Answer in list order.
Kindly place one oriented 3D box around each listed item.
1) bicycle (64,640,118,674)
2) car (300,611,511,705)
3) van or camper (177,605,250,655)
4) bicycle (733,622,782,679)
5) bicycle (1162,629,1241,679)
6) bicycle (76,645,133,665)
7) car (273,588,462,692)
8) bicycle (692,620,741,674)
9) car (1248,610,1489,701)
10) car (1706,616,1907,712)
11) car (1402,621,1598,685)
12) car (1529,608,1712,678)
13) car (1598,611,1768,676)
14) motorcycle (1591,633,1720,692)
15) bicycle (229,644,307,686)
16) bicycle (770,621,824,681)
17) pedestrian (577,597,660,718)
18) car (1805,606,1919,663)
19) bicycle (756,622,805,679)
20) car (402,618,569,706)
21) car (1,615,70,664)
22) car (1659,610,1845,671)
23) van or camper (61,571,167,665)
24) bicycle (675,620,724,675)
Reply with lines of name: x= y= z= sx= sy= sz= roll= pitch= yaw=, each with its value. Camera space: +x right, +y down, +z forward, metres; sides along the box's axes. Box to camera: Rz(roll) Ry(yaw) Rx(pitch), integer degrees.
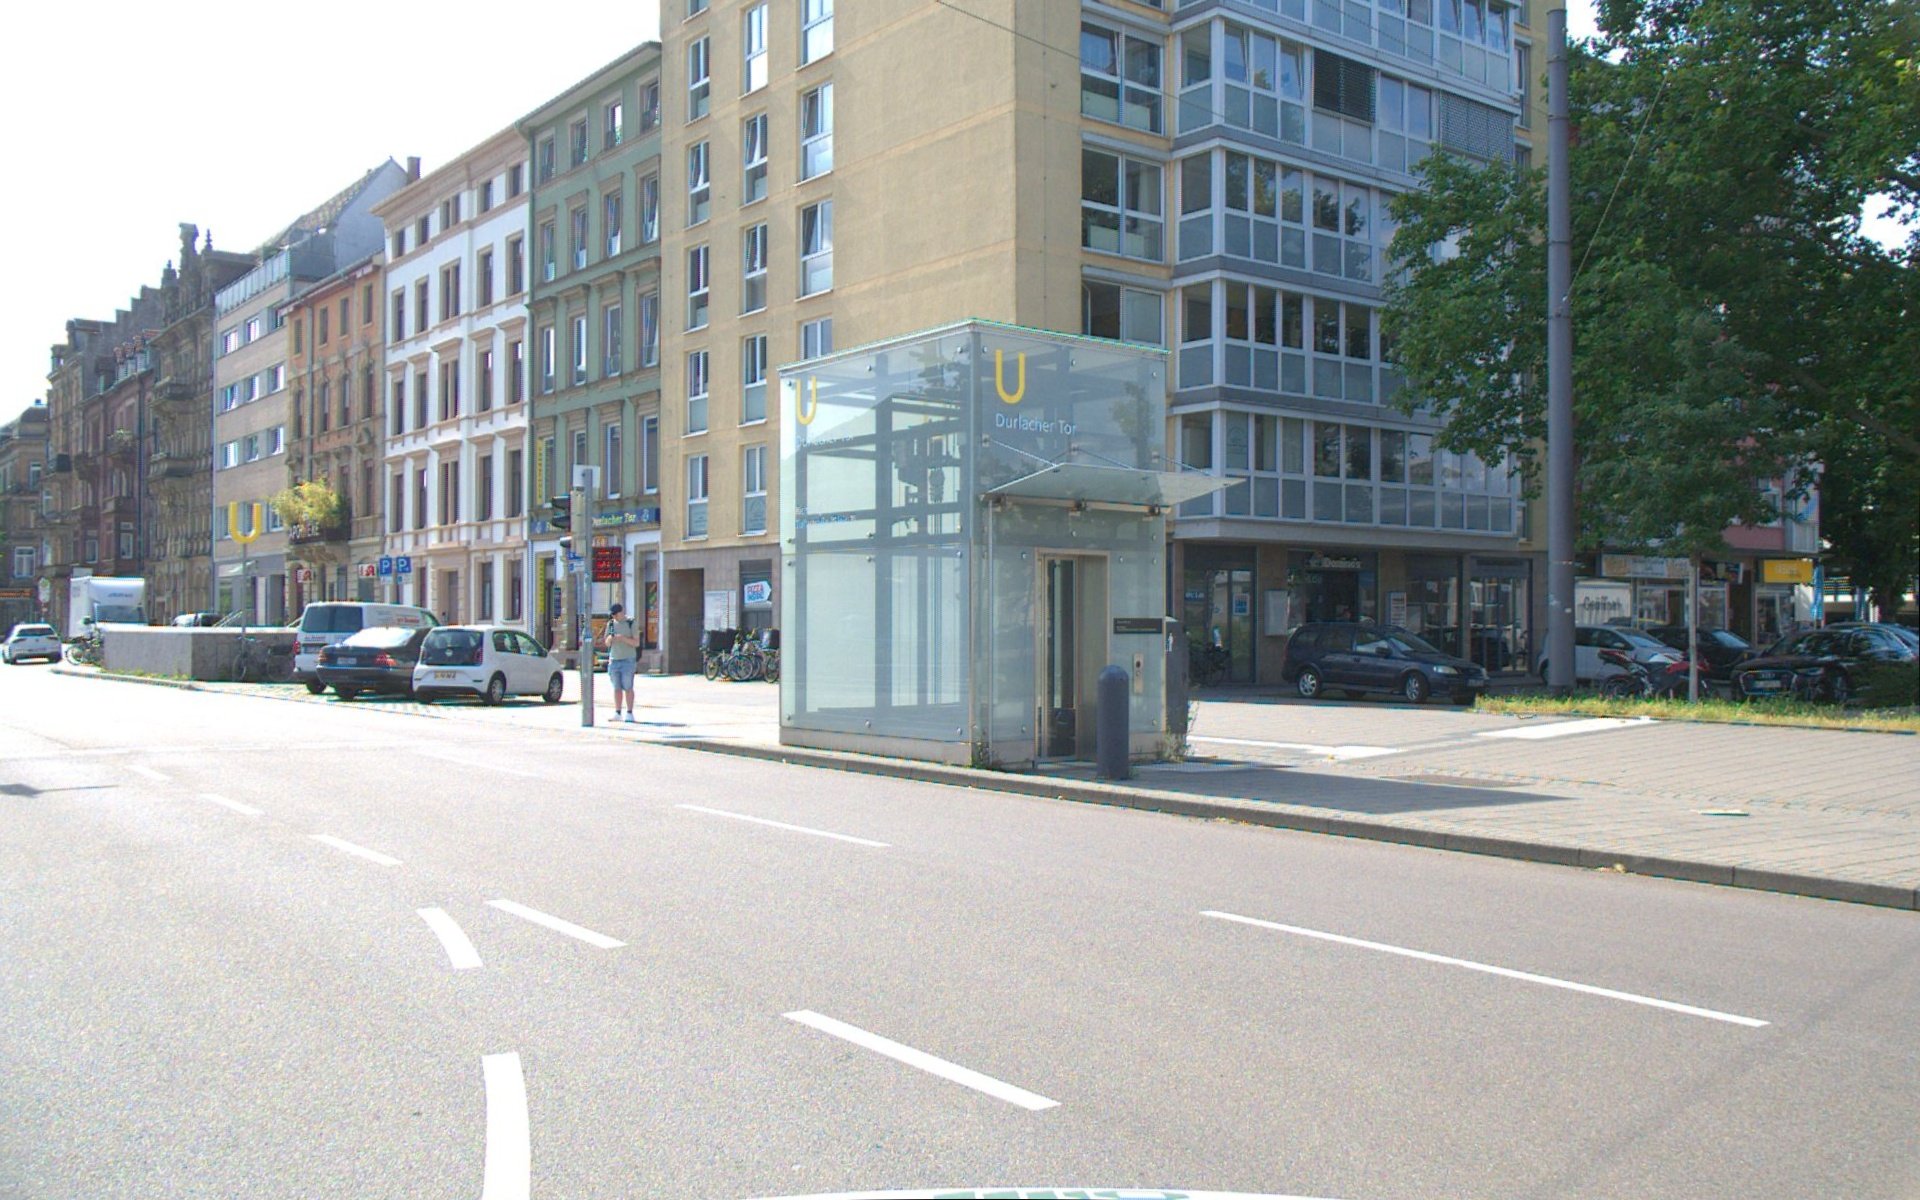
bicycle: x=-31.885 y=2.082 z=60.682 sx=0.366 sy=1.103 sz=1.755 roll=4 pitch=4 yaw=40
car: x=-11.232 y=1.117 z=33.941 sx=1.844 sy=1.494 sz=5.070 roll=0 pitch=3 yaw=11
van or camper: x=-35.926 y=1.417 z=79.489 sx=1.980 sy=1.937 sz=5.228 roll=-5 pitch=5 yaw=-37
bicycle: x=-4.806 y=1.187 z=39.160 sx=0.482 sy=1.222 sz=1.627 roll=-2 pitch=4 yaw=-33
bicycle: x=5.277 y=1.168 z=36.099 sx=1.763 sy=1.037 sz=0.672 roll=0 pitch=-1 yaw=-38
bicycle: x=-29.483 y=1.893 z=57.017 sx=1.727 sy=0.596 sz=0.639 roll=0 pitch=3 yaw=12
car: x=-13.360 y=0.840 z=37.647 sx=2.029 sy=2.121 sz=4.904 roll=0 pitch=1 yaw=7
bicycle: x=-6.135 y=1.177 z=41.578 sx=0.483 sy=1.222 sz=1.623 roll=-2 pitch=4 yaw=-37
car: x=7.974 y=1.024 z=32.576 sx=1.980 sy=1.613 sz=4.331 roll=0 pitch=0 yaw=-39
car: x=15.977 y=1.151 z=31.174 sx=3.956 sy=1.444 sz=1.775 roll=-2 pitch=4 yaw=-36
car: x=11.965 y=1.169 z=36.837 sx=1.570 sy=1.350 sz=3.945 roll=0 pitch=-2 yaw=-38
car: x=15.591 y=1.010 z=39.158 sx=1.980 sy=1.557 sz=3.525 roll=0 pitch=-2 yaw=-38
car: x=17.998 y=1.087 z=41.278 sx=1.678 sy=1.557 sz=3.525 roll=0 pitch=-2 yaw=-38
motorcycle: x=11.396 y=1.026 z=27.138 sx=1.848 sy=0.918 sz=0.606 roll=-1 pitch=0 yaw=9
bicycle: x=-17.690 y=1.657 z=42.302 sx=1.765 sy=1.021 sz=0.504 roll=1 pitch=1 yaw=-45
bicycle: x=-3.717 y=1.140 z=37.604 sx=0.542 sy=1.222 sz=1.627 roll=-2 pitch=4 yaw=-33
pedestrian: x=-5.202 y=0.865 z=25.208 sx=0.768 sy=1.790 sz=0.994 roll=-1 pitch=-1 yaw=28
car: x=27.054 y=1.018 z=48.628 sx=1.646 sy=1.622 sz=3.576 roll=0 pitch=-2 yaw=-34
bicycle: x=-4.270 y=1.184 z=39.324 sx=0.482 sy=1.222 sz=1.627 roll=-2 pitch=4 yaw=-33
car: x=-9.126 y=1.151 z=32.080 sx=1.677 sy=1.465 sz=3.515 roll=1 pitch=2 yaw=11
car: x=-35.773 y=1.496 z=63.933 sx=1.777 sy=1.461 sz=4.289 roll=-6 pitch=5 yaw=-35
car: x=20.461 y=1.056 z=42.837 sx=1.853 sy=1.490 sz=3.942 roll=0 pitch=-2 yaw=-40
van or camper: x=-34.692 y=0.640 z=67.667 sx=2.691 sy=3.388 sz=7.544 roll=-2 pitch=4 yaw=-36
bicycle: x=-6.503 y=1.174 z=41.223 sx=0.483 sy=1.222 sz=1.623 roll=-2 pitch=4 yaw=-37
